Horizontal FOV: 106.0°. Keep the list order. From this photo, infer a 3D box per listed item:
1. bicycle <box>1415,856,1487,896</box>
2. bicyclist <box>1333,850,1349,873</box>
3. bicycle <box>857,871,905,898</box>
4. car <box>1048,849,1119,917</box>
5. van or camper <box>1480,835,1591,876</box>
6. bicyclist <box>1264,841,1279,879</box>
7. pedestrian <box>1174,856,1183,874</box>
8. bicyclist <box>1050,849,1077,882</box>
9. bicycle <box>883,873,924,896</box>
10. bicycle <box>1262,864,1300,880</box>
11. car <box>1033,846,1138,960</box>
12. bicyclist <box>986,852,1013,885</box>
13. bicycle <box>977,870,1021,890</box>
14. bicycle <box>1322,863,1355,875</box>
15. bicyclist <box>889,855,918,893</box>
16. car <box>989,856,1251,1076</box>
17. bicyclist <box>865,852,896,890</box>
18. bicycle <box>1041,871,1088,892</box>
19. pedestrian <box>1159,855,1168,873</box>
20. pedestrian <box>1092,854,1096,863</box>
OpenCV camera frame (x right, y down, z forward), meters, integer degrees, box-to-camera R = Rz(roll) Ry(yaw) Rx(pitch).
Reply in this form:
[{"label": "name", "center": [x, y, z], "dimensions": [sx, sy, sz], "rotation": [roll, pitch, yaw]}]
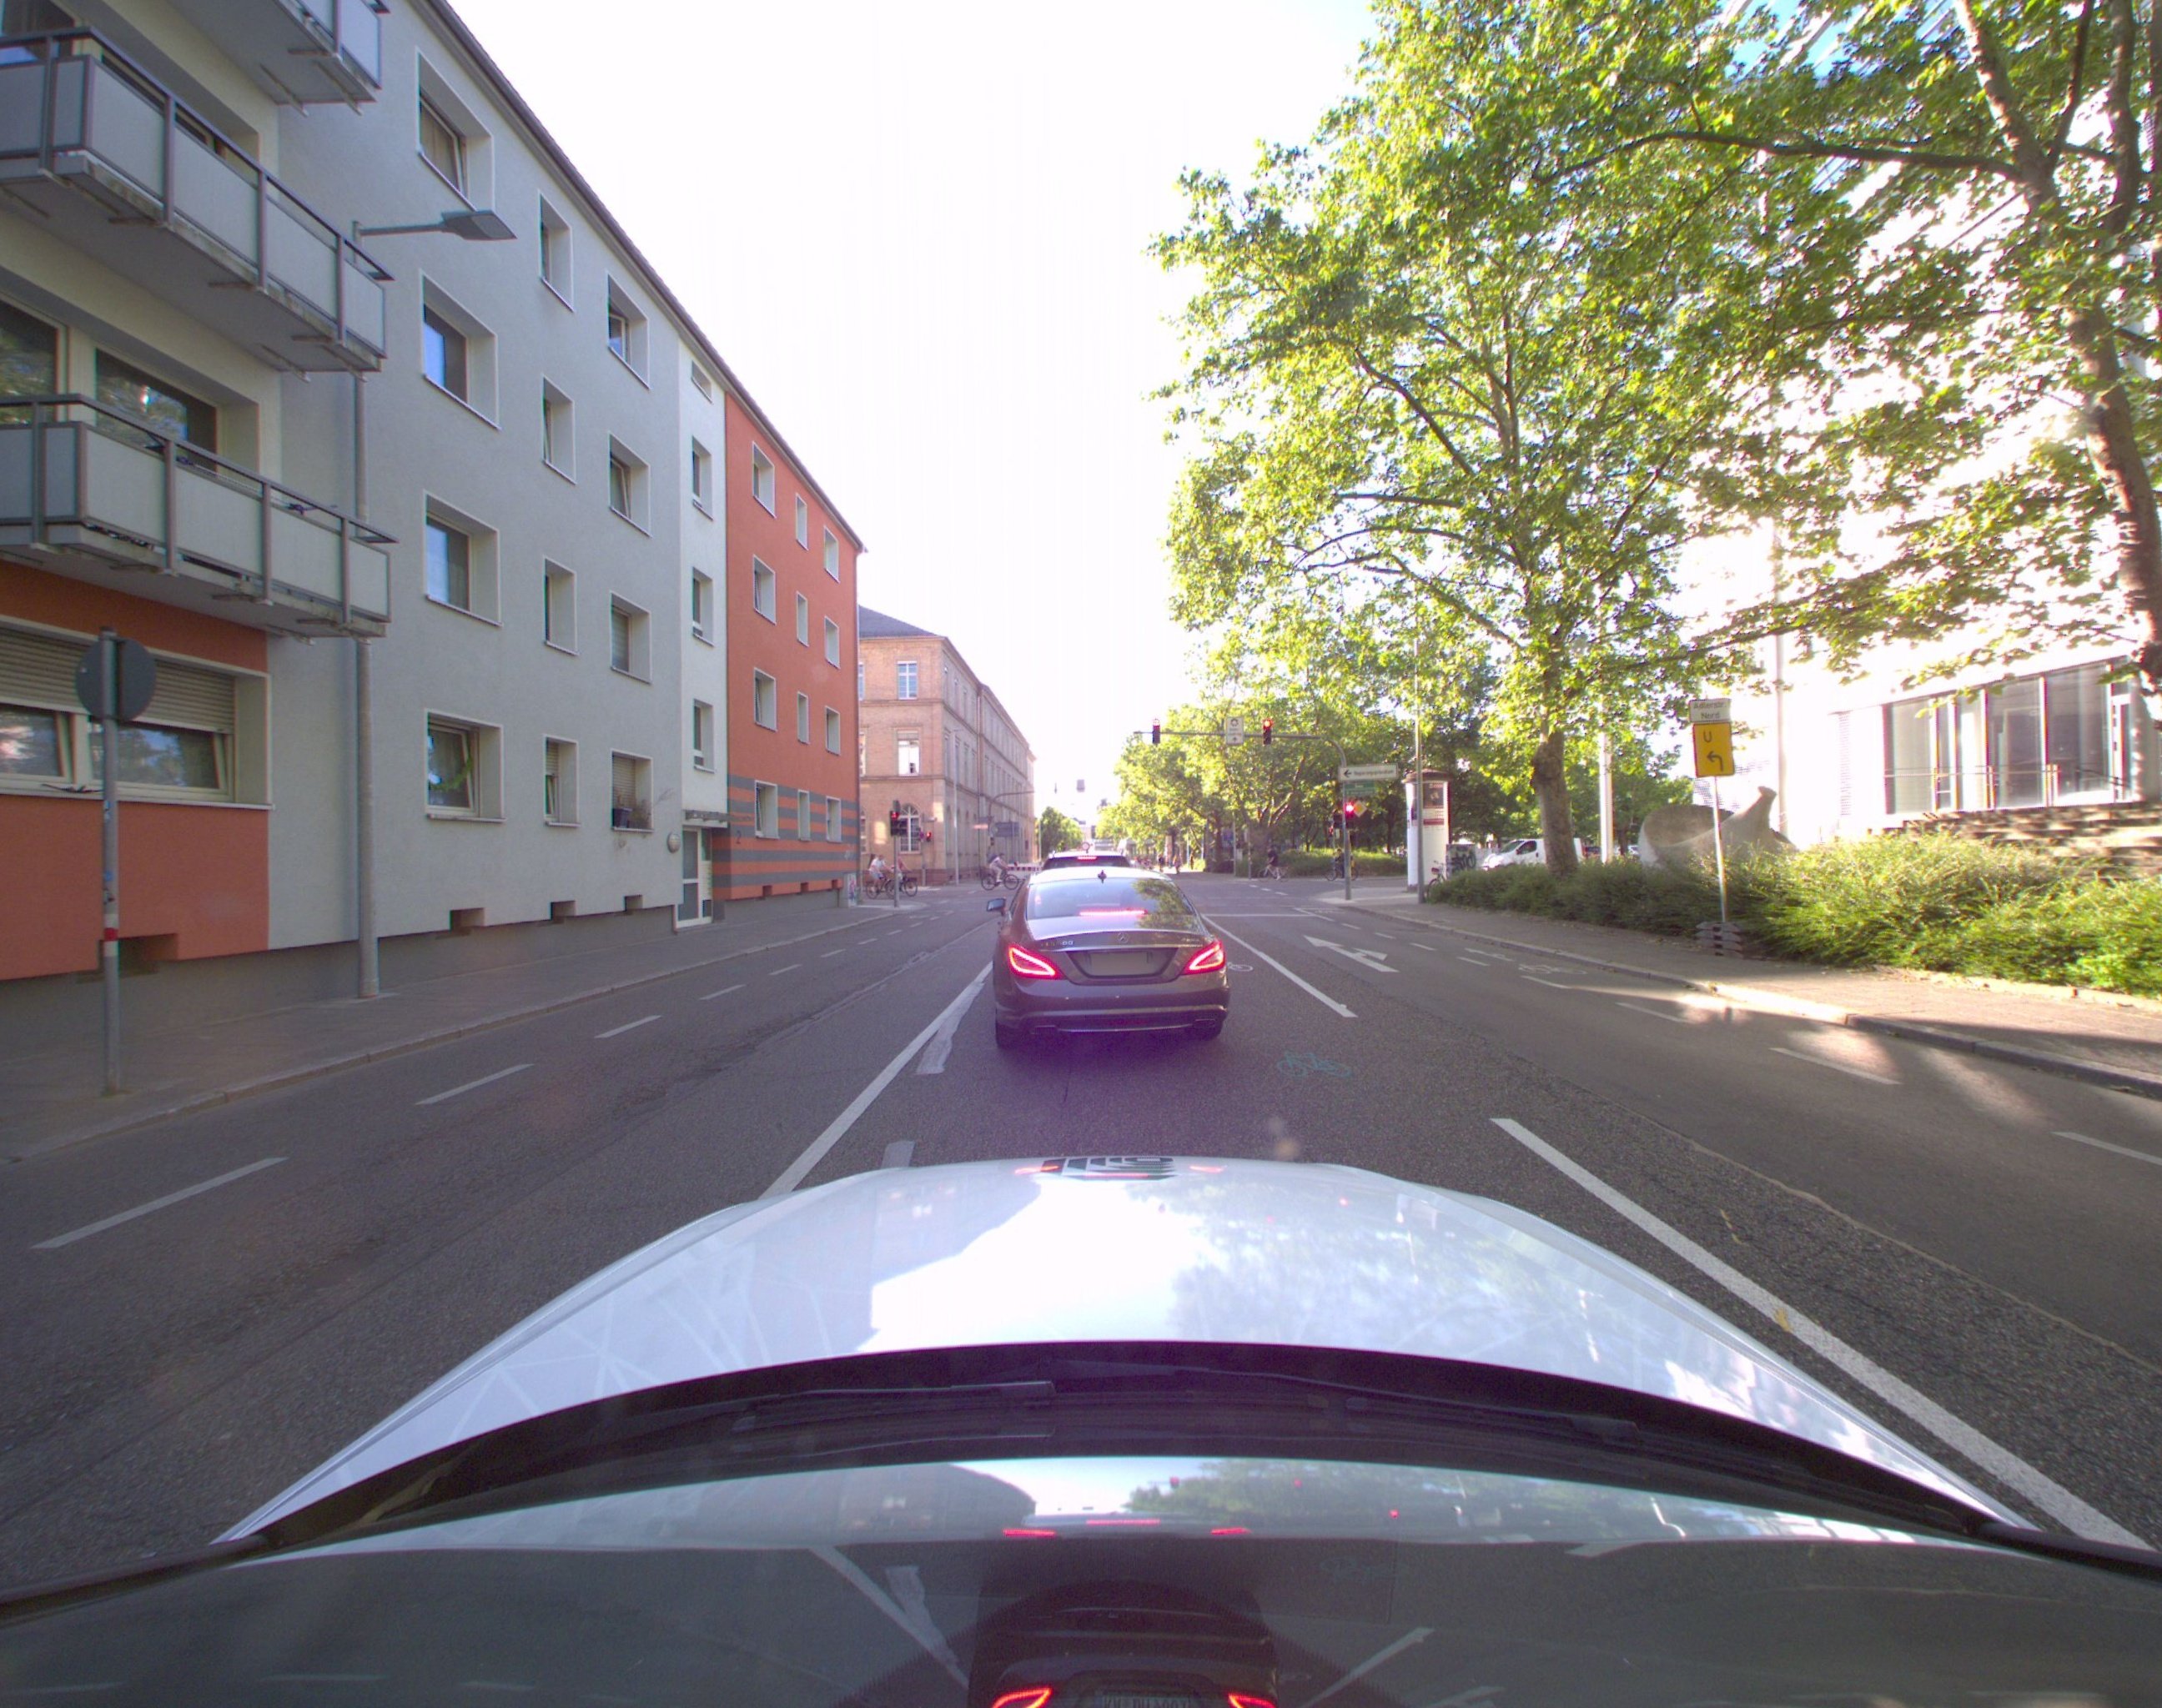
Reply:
[{"label": "bicycle", "center": [10.683, 0.632, 23.542], "dimensions": [1.796, 1.097, 0.510], "rotation": [-1, 0, 4]}, {"label": "bicyclist", "center": [14.035, 0.398, 43.988], "dimensions": [0.701, 1.260, 0.458], "rotation": [-1, 0, 5]}, {"label": "bicycle", "center": [-8.169, 1.231, 33.215], "dimensions": [1.813, 1.079, 0.871], "rotation": [-1, 0, 31]}, {"label": "car", "center": [0.128, 0.771, 23.397], "dimensions": [1.813, 1.762, 4.002], "rotation": [-1, 0, 2]}, {"label": "van or camper", "center": [23.158, 0.076, 41.629], "dimensions": [4.562, 1.941, 2.001], "rotation": [-1, 0, 1]}, {"label": "bicyclist", "center": [10.189, 0.330, 43.603], "dimensions": [0.653, 2.013, 0.438], "rotation": [-1, 0, -13]}, {"label": "pedestrian", "center": [8.014, 0.918, 67.065], "dimensions": [0.646, 1.433, 0.659], "rotation": [-1, 0, 1]}, {"label": "bicyclist", "center": [-0.752, 0.508, 35.511], "dimensions": [1.099, 1.403, 0.658], "rotation": [-1, 0, 1]}, {"label": "bicycle", "center": [-7.531, 1.285, 34.520], "dimensions": [1.839, 0.929, 0.700], "rotation": [-1, 0, 38]}, {"label": "bicycle", "center": [10.715, 0.971, 43.633], "dimensions": [1.889, 0.837, 0.457], "rotation": [-1, 0, -6]}, {"label": "car", "center": [0.061, 0.713, 13.811], "dimensions": [1.513, 1.647, 3.879], "rotation": [-1, 0, 0]}, {"label": "bicyclist", "center": [-3.722, 0.661, 37.368], "dimensions": [1.069, 1.519, 0.718], "rotation": [-1, 0, 6]}, {"label": "bicycle", "center": [-3.745, 1.187, 37.364], "dimensions": [1.884, 0.882, 0.726], "rotation": [-1, 0, 5]}, {"label": "bicycle", "center": [13.910, 0.807, 44.013], "dimensions": [1.579, 0.635, 0.496], "rotation": [-1, 0, 5]}, {"label": "bicyclist", "center": [-7.528, 0.849, 34.512], "dimensions": [0.969, 1.578, 0.691], "rotation": [-1, 0, 38]}, {"label": "car", "center": [0.092, 0.767, 7.787], "dimensions": [1.801, 1.456, 4.342], "rotation": [-1, 0, -5]}, {"label": "bicyclist", "center": [-8.167, 0.689, 33.214], "dimensions": [0.828, 1.555, 0.850], "rotation": [-1, 0, 31]}, {"label": "bicycle", "center": [-0.714, 1.195, 35.496], "dimensions": [1.966, 0.836, 0.677], "rotation": [-1, 0, 2]}, {"label": "pedestrian", "center": [6.848, 0.828, 67.587], "dimensions": [0.646, 1.503, 0.637], "rotation": [-1, 0, 1]}, {"label": "pedestrian", "center": [2.286, 0.842, 143.072], "dimensions": [0.799, 1.576, 0.845], "rotation": [-1, 0, 1]}]
